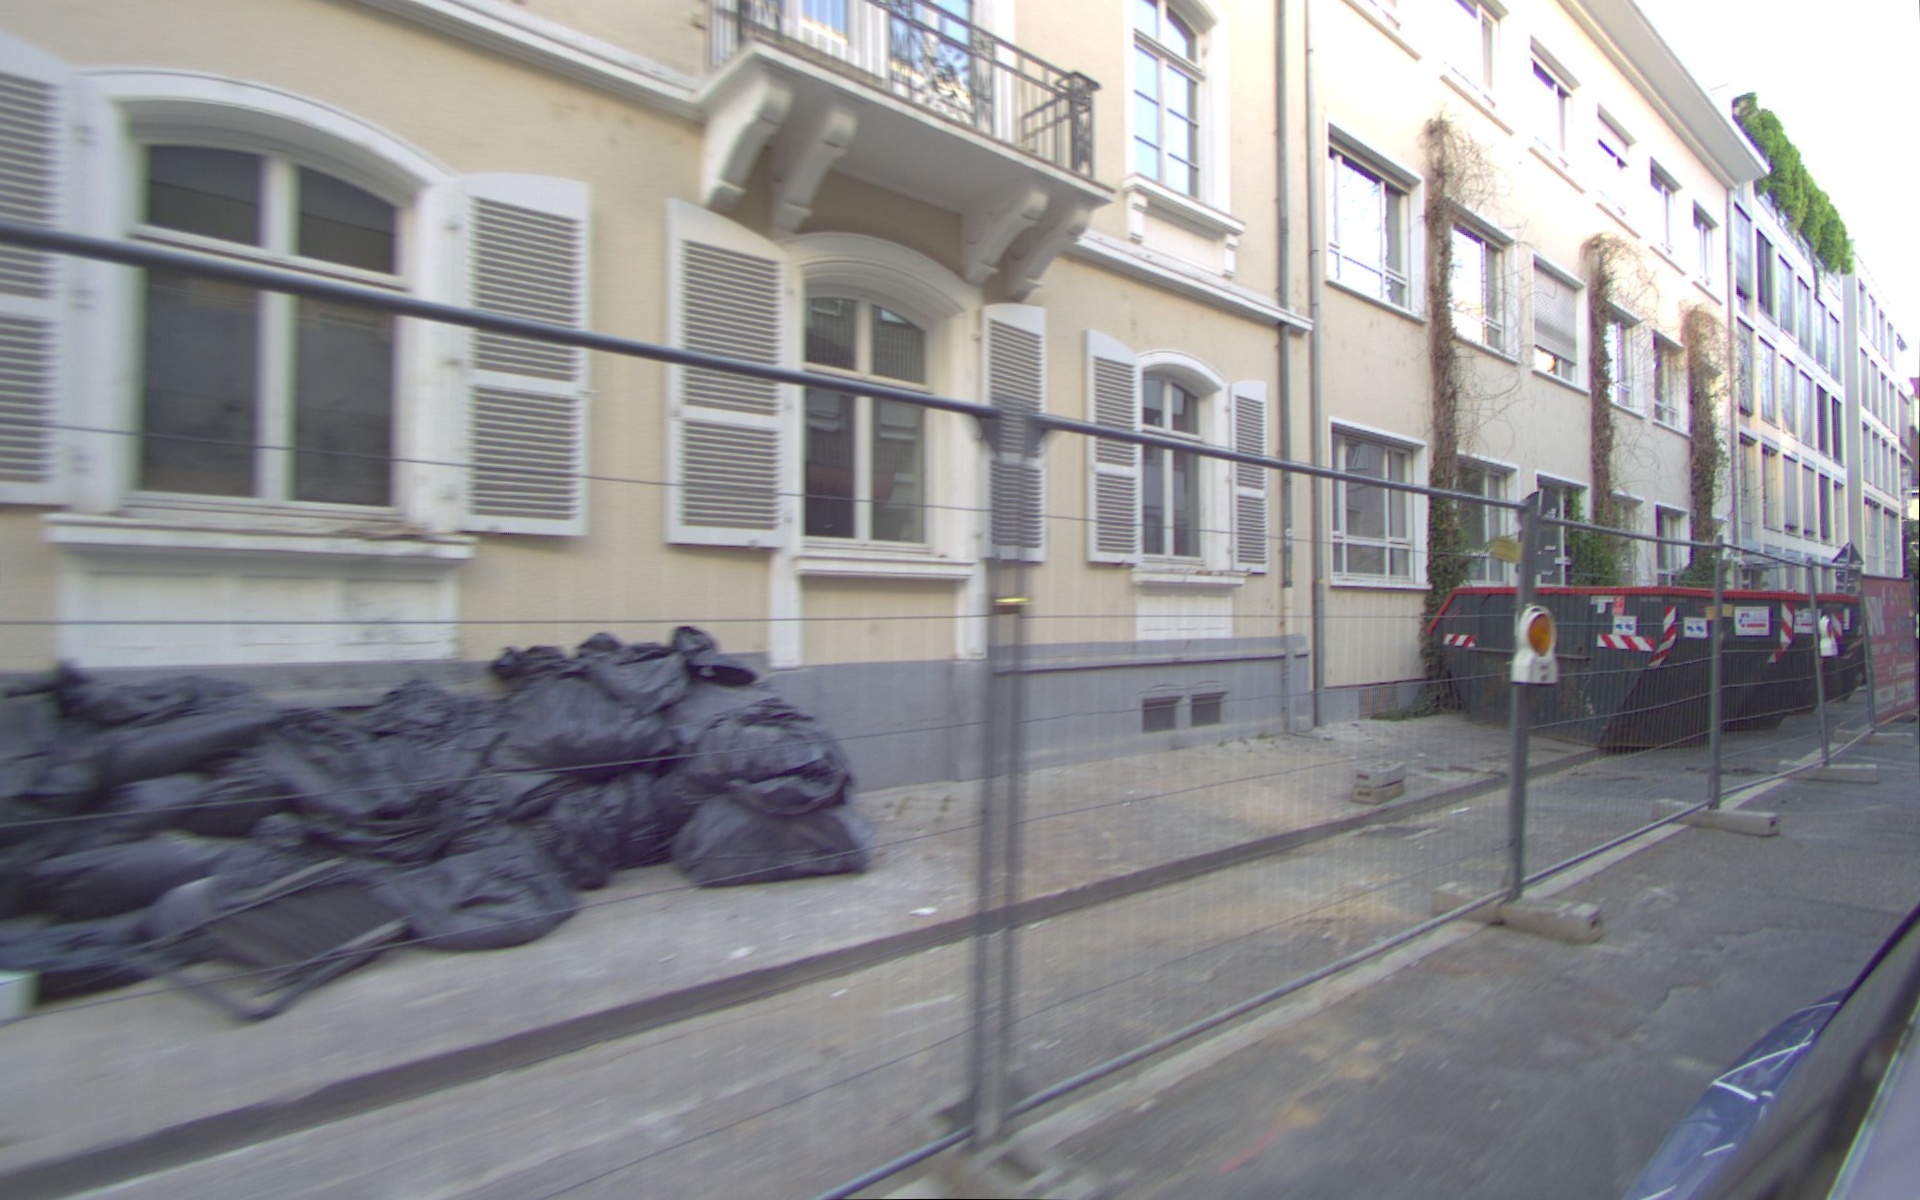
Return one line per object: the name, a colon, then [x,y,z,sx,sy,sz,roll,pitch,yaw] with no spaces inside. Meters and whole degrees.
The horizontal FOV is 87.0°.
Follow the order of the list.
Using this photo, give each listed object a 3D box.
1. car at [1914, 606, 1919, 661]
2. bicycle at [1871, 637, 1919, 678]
car: [28.216,0.899,28.289,4.368,1.491,1.789,1,-4,-41]
bicycle: [21.890,1.303,23.174,0.451,0.920,1.805,0,-2,3]
